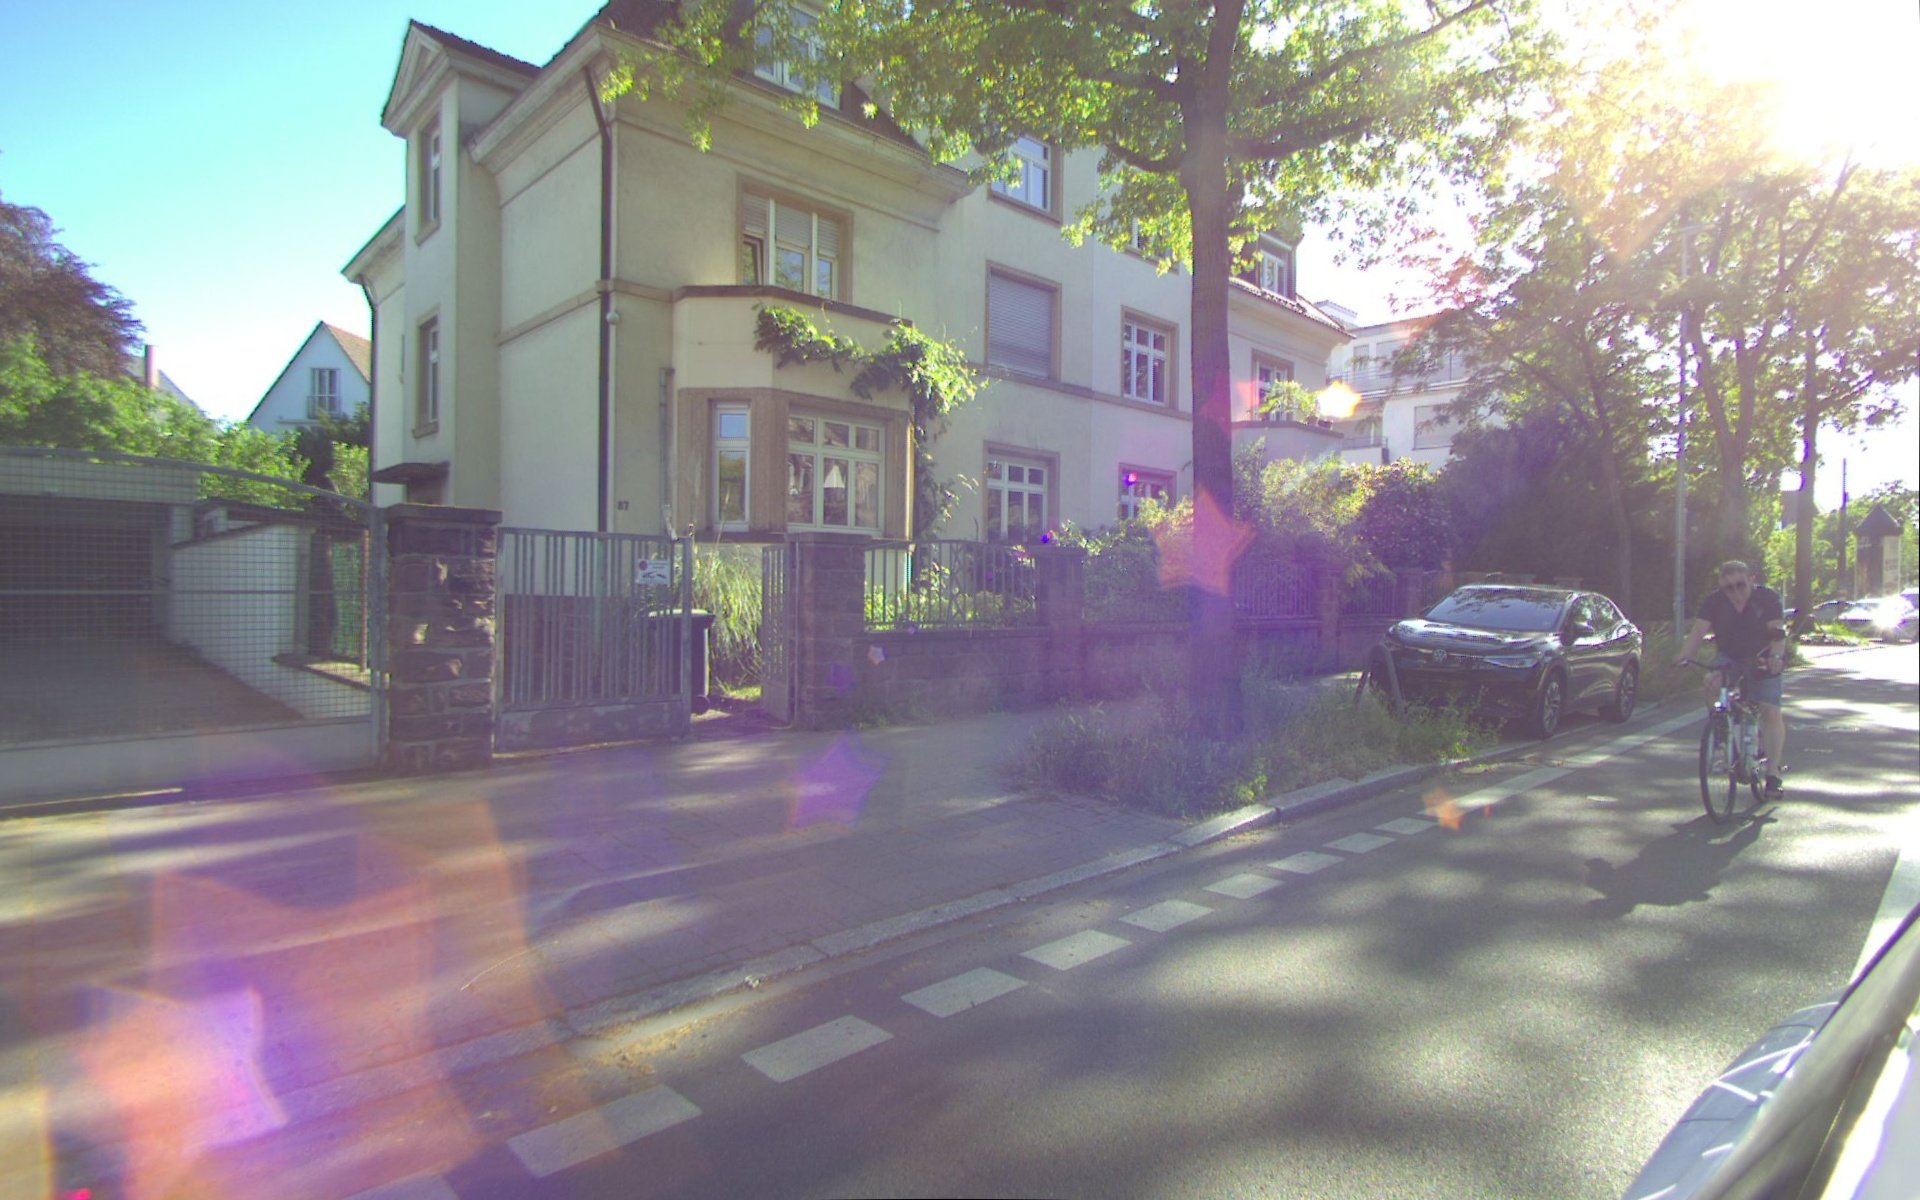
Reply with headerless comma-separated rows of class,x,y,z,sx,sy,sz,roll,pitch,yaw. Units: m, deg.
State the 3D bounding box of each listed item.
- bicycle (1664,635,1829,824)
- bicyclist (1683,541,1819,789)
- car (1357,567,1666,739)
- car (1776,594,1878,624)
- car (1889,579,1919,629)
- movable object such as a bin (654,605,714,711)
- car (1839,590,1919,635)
bicycle,5.647,0.849,7.225,1.823,1.125,0.588,0,0,-41
bicyclist,5.657,0.434,7.241,0.654,1.662,0.643,0,0,-41
car,6.713,0.497,12.138,4.186,1.619,1.917,0,4,-42
car,46.074,0.457,53.837,1.784,1.459,3.990,0,1,-44
car,36.678,0.128,37.854,4.580,1.808,1.903,0,1,-35
movable object such as a bin,-2.920,0.587,10.674,0.551,1.062,0.676,0,0,-20
car,31.518,0.381,34.272,4.181,1.427,1.901,0,1,-38
